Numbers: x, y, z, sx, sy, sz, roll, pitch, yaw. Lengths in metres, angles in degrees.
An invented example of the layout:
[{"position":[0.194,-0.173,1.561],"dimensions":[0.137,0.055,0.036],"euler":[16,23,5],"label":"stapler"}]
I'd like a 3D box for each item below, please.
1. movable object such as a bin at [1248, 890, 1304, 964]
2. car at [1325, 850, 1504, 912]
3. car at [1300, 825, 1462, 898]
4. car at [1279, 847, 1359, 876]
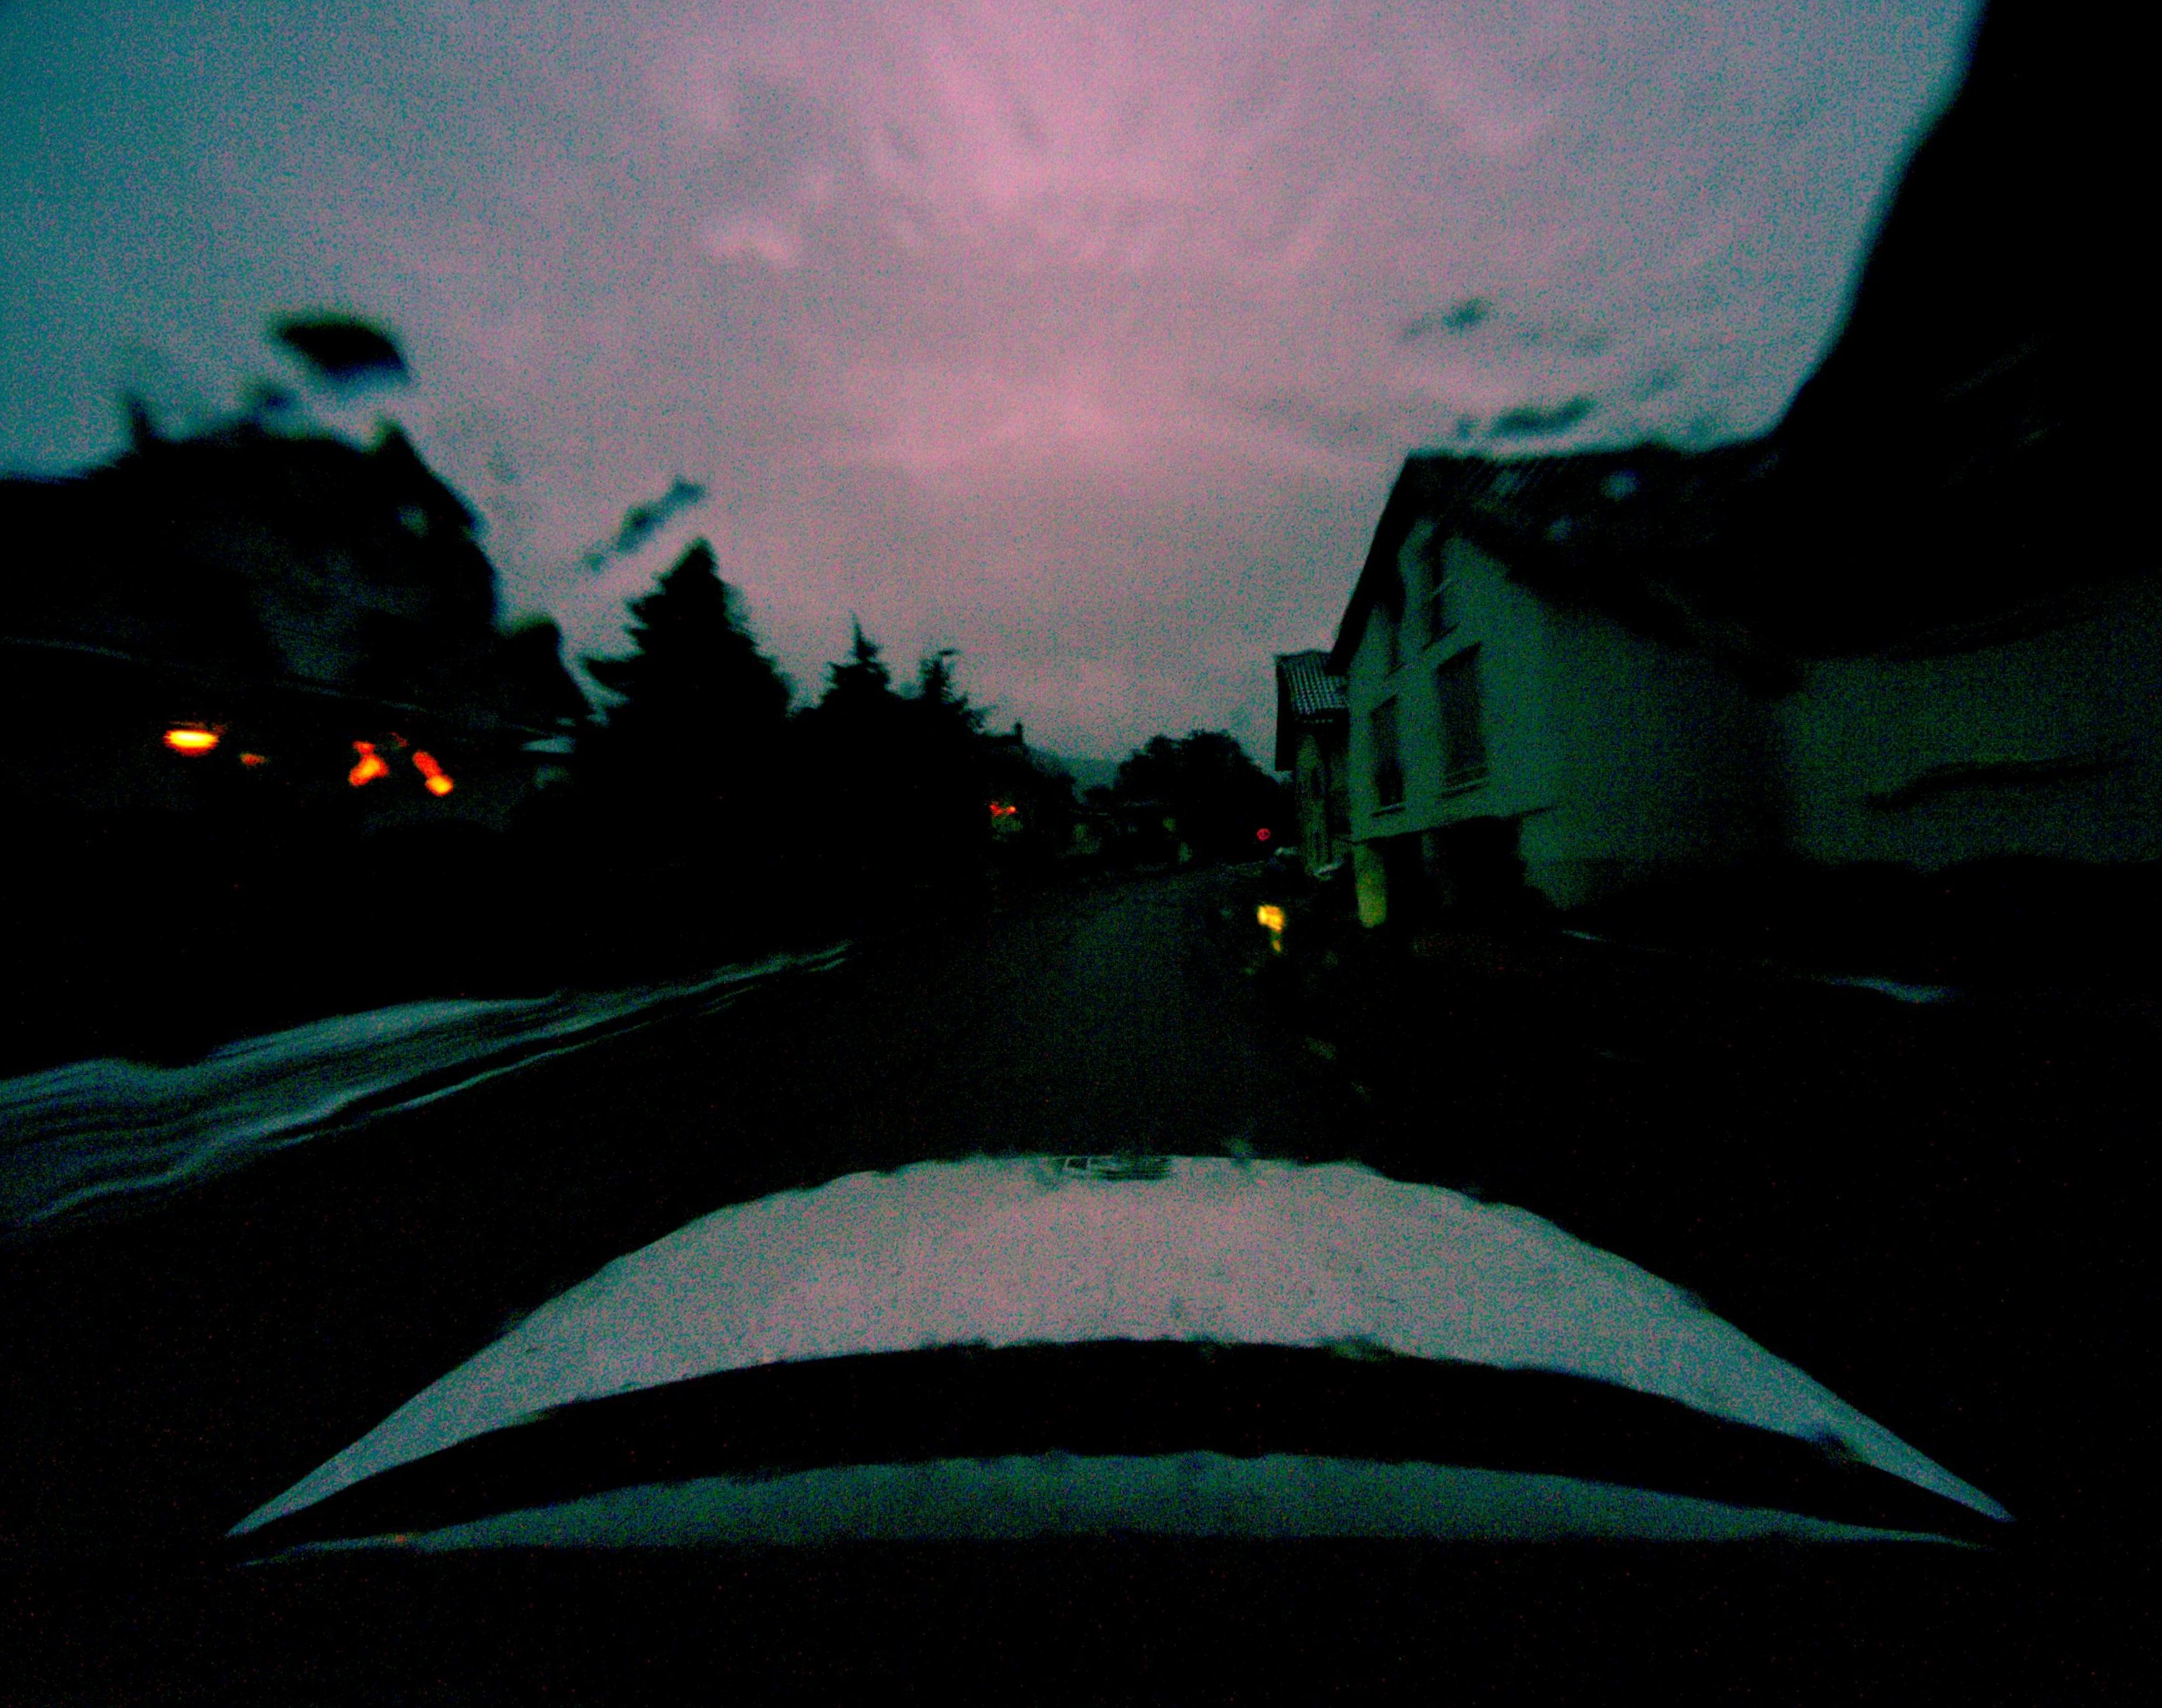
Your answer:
[{"position":[2.726,1.009,11.412],"dimensions":[0.611,0.946,0.596],"euler":[-6,-2,6],"label":"movable object such as a bin"},{"position":[8.612,0.686,21.235],"dimensions":[3.973,1.457,1.690],"euler":[-1,0,0],"label":"car"},{"position":[9.220,0.246,25.304],"dimensions":[4.259,1.456,1.782],"euler":[-10,-2,6],"label":"car"},{"position":[14.317,0.440,49.122],"dimensions":[4.471,1.443,2.008],"euler":[-4,0,15],"label":"car"}]
